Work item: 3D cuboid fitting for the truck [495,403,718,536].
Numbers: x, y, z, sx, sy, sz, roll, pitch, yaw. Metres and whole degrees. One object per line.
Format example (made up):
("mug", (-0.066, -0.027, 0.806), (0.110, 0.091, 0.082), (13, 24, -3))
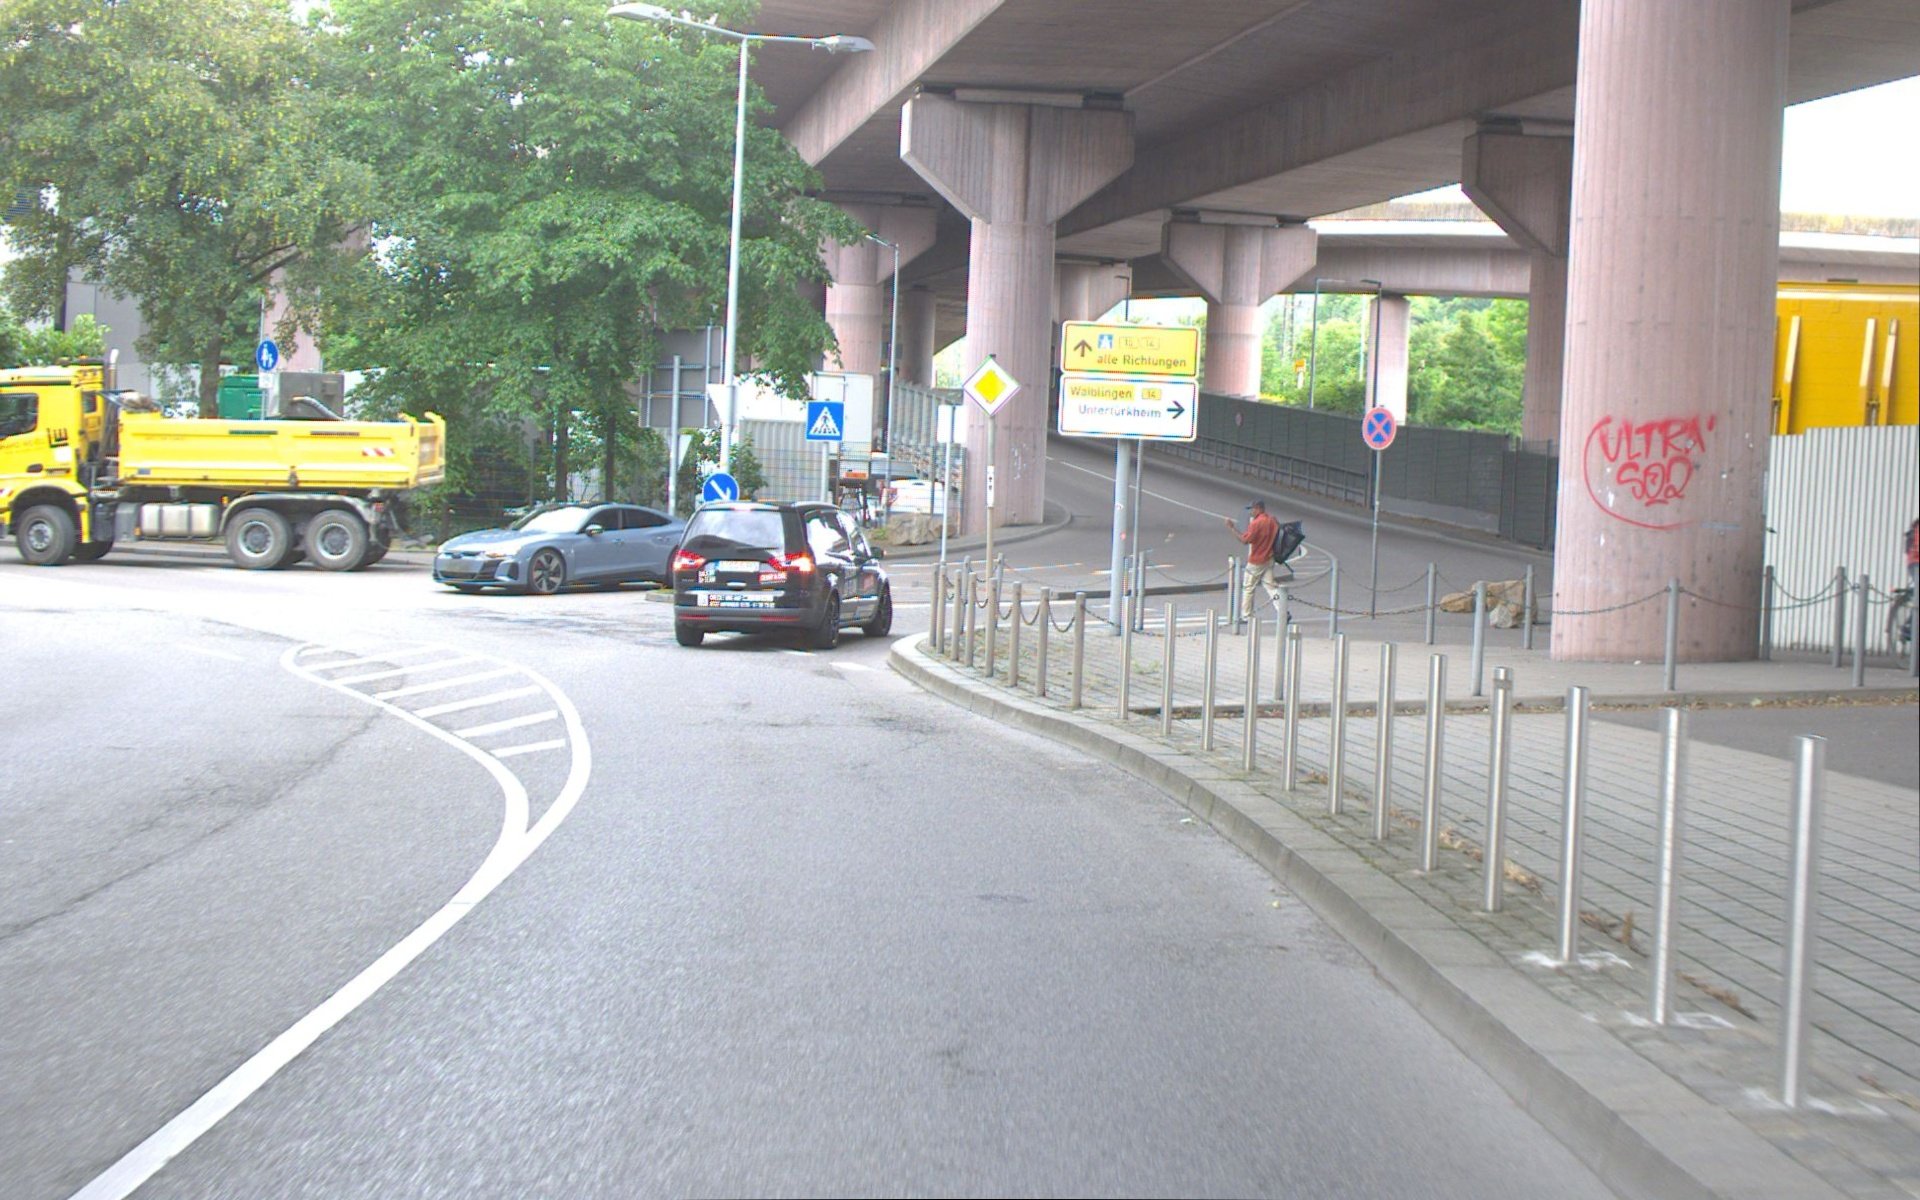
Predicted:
("truck", (-8.523, -3.164, 82.151), (2.915, 2.888, 6.560), (0, 4, -29))

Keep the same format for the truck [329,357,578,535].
("truck", (-11.912, -3.669, 80.147), (3.065, 3.854, 8.050), (0, 4, -29))

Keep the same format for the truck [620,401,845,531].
("truck", (-5.610, -3.293, 83.641), (2.915, 2.888, 6.560), (0, 4, -29))

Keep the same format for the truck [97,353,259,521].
("truck", (-23.508, -4.964, 103.024), (3.202, 4.763, 8.051), (0, 4, -24))

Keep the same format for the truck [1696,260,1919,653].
("truck", (13.405, -1.845, 47.218), (3.144, 4.900, 8.700), (3, 2, 35))

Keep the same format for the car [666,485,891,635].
("car", (-2.094, -0.514, 40.991), (1.994, 1.673, 4.560), (1, 2, 6))

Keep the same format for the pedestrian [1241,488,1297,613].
("pedestrian", (4.180, -0.677, 46.525), (0.536, 1.670, 0.558), (0, 3, -19))

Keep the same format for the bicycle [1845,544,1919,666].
("bicycle", (9.105, 0.050, 31.943), (0.802, 1.094, 2.132), (0, 2, -13))

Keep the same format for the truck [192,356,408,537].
("truck", (-15.512, -3.598, 80.411), (3.065, 3.949, 6.925), (1, 2, -27))

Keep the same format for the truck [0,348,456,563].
("truck", (-13.099, -2.557, 59.764), (8.218, 3.468, 2.937), (1, 5, 1))

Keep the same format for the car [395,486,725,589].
("car", (-6.185, -0.972, 53.635), (2.172, 1.496, 4.920), (3, 2, 41))

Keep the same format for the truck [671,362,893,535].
("truck", (-4.818, -4.084, 91.012), (3.065, 4.284, 8.051), (0, 4, -24))

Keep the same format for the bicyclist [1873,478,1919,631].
("bicyclist", (9.112, -0.424, 31.915), (0.795, 1.400, 1.067), (0, 2, -13))
